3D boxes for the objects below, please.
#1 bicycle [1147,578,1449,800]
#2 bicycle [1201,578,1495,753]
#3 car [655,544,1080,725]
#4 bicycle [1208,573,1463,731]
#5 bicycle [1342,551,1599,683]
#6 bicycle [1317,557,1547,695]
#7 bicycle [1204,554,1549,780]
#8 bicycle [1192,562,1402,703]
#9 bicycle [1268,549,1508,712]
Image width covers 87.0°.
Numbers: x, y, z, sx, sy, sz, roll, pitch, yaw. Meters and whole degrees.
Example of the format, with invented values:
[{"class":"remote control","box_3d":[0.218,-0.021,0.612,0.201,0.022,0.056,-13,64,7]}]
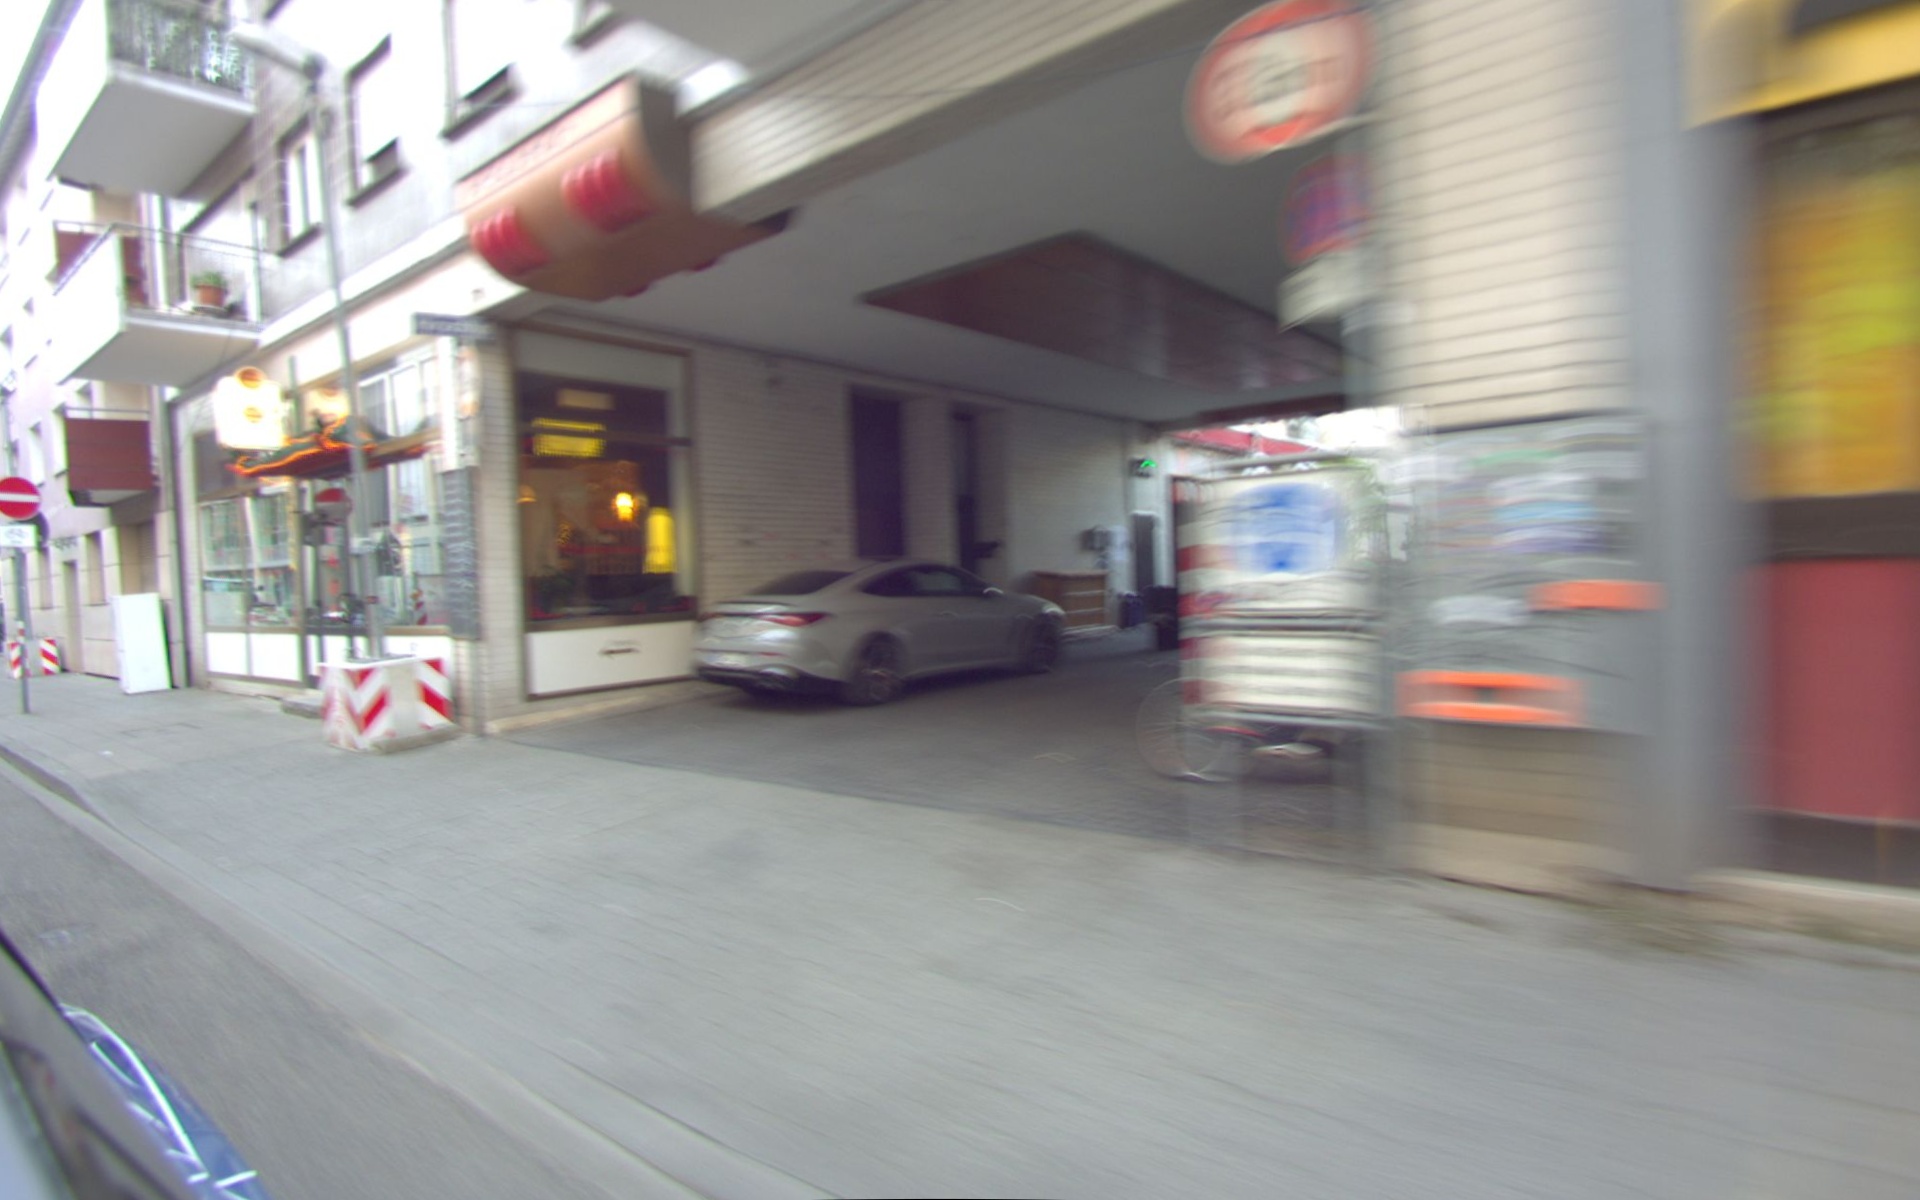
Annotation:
[{"class":"bicycle","box_3d":[1.797,0.442,5.503,1.463,1.046,0.438,-2,3,40]},{"class":"bicycle","box_3d":[2.512,0.401,6.707,1.749,1.025,0.423,-2,1,41]},{"class":"car","box_3d":[-0.779,0.227,10.975,2.067,1.474,4.389,-2,2,39]},{"class":"bicycle","box_3d":[2.681,0.353,7.347,1.652,1.025,0.447,-2,2,41]},{"class":"bicycle","box_3d":[4.271,0.147,8.564,1.873,1.025,0.423,-2,0,38]},{"class":"bicycle","box_3d":[3.844,0.203,8.346,1.654,1.036,0.422,-2,0,45]},{"class":"bicycle","box_3d":[2.363,0.356,5.909,1.791,1.147,0.423,-2,1,41]},{"class":"bicycle","box_3d":[2.877,0.274,8.706,1.646,1.133,0.424,-2,0,29]},{"class":"bicycle","box_3d":[3.333,0.235,7.969,1.650,1.169,0.423,-2,3,37]}]
